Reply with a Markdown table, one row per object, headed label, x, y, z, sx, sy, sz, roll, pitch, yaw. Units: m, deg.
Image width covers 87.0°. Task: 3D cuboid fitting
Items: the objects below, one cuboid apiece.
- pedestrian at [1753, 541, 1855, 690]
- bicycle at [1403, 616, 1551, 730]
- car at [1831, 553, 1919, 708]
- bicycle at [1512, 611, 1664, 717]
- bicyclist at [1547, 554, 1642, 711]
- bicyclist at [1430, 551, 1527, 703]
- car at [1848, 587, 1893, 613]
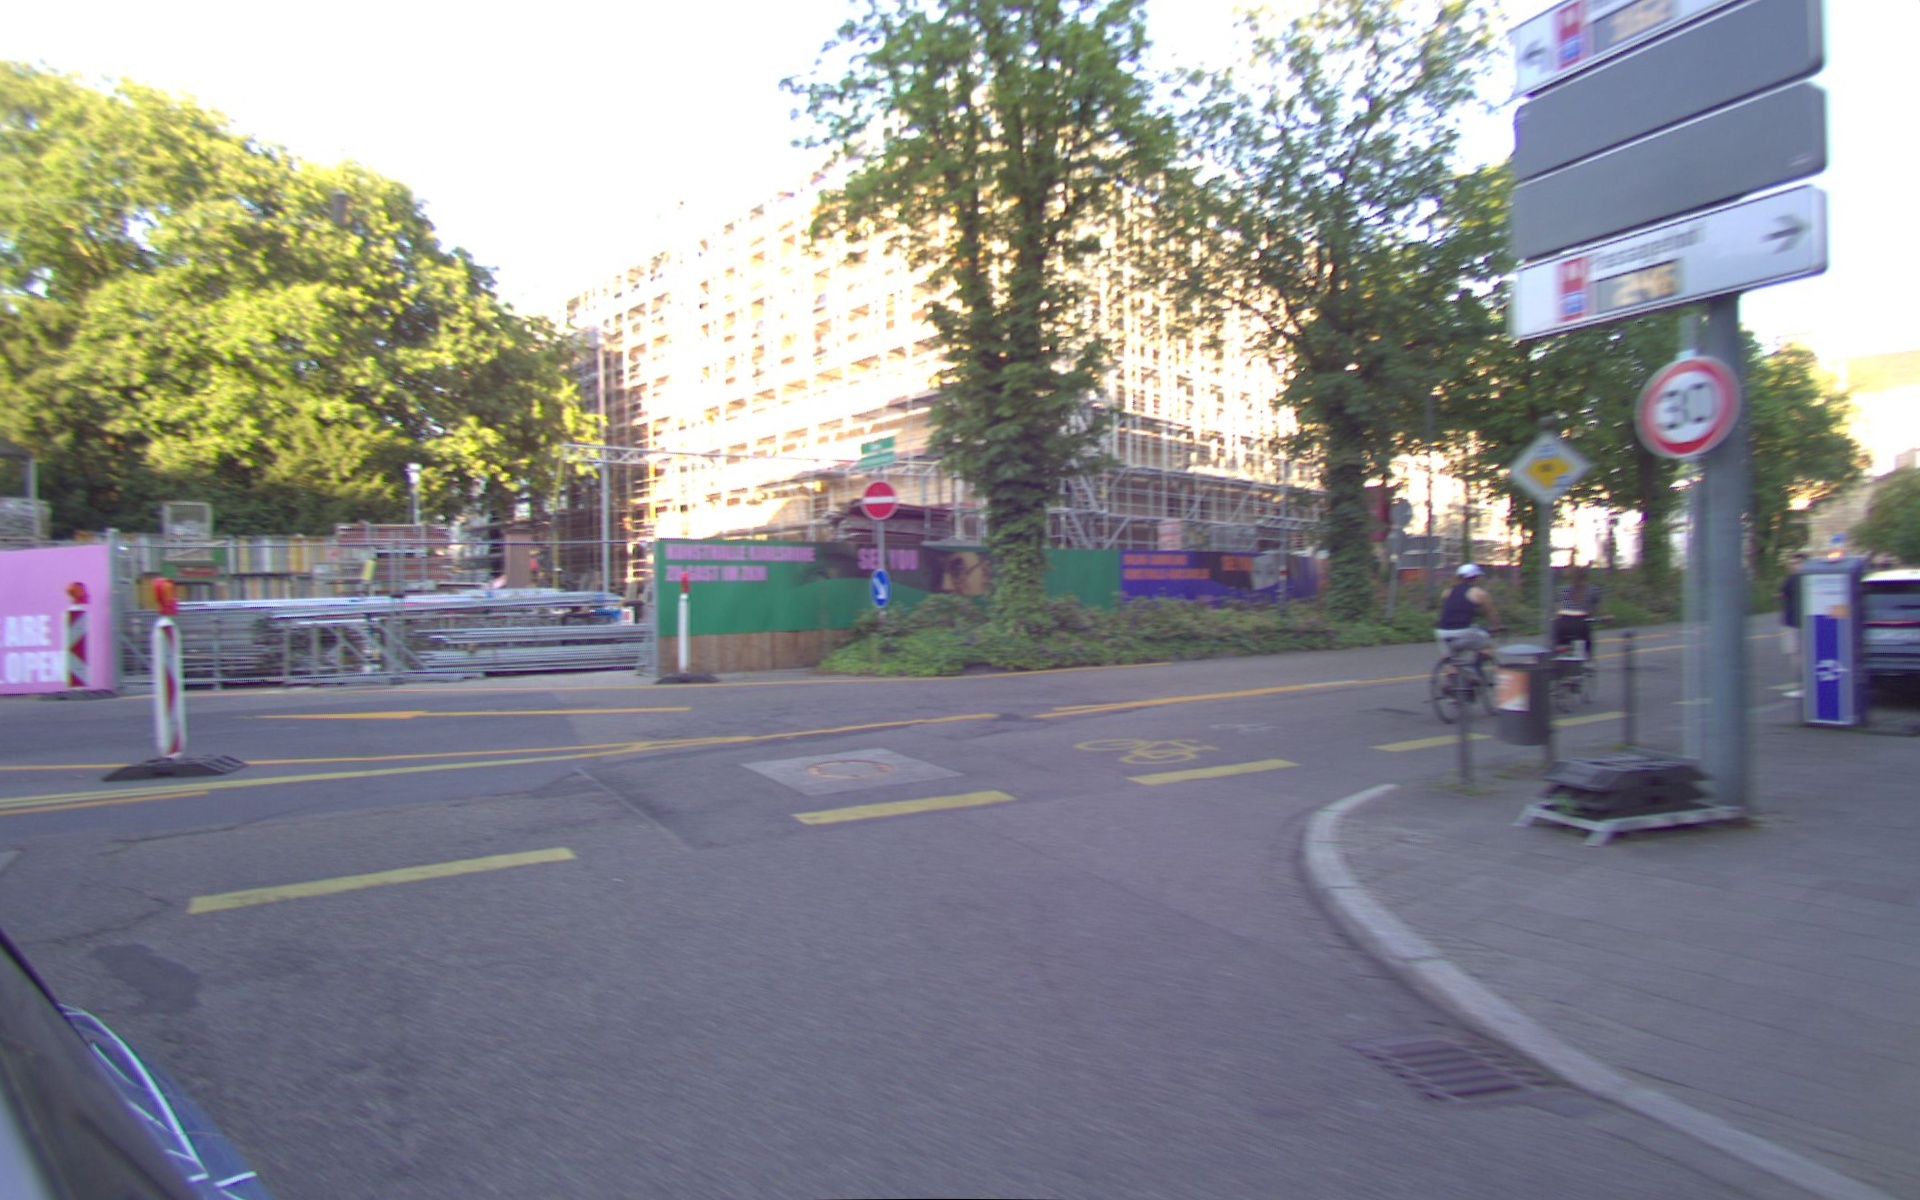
| label | x | y | z | sx | sy | sz | roll | pitch | yaw |
| --- | --- | --- | --- | --- | --- | --- | --- | --- | --- |
| pedestrian | 11.174 | 0.192 | 13.436 | 0.900 | 1.880 | 0.922 | -1 | 0 | 32 |
| bicycle | 5.651 | 0.748 | 11.022 | 1.870 | 1.079 | 0.673 | -1 | 2 | -37 |
| car | 12.099 | 0.305 | 12.039 | 3.855 | 1.695 | 1.822 | -1 | 0 | -36 |
| bicycle | 7.426 | 0.710 | 11.928 | 2.220 | 1.079 | 0.657 | -1 | 2 | -34 |
| bicyclist | 7.494 | 0.351 | 11.958 | 0.850 | 1.773 | 0.653 | -2 | 2 | -34 |
| bicyclist | 5.629 | 0.270 | 10.996 | 0.687 | 1.577 | 0.672 | -1 | 2 | -36 |
| car | 56.347 | -0.004 | 62.680 | 1.816 | 1.572 | 3.815 | -1 | 0 | 38 |
